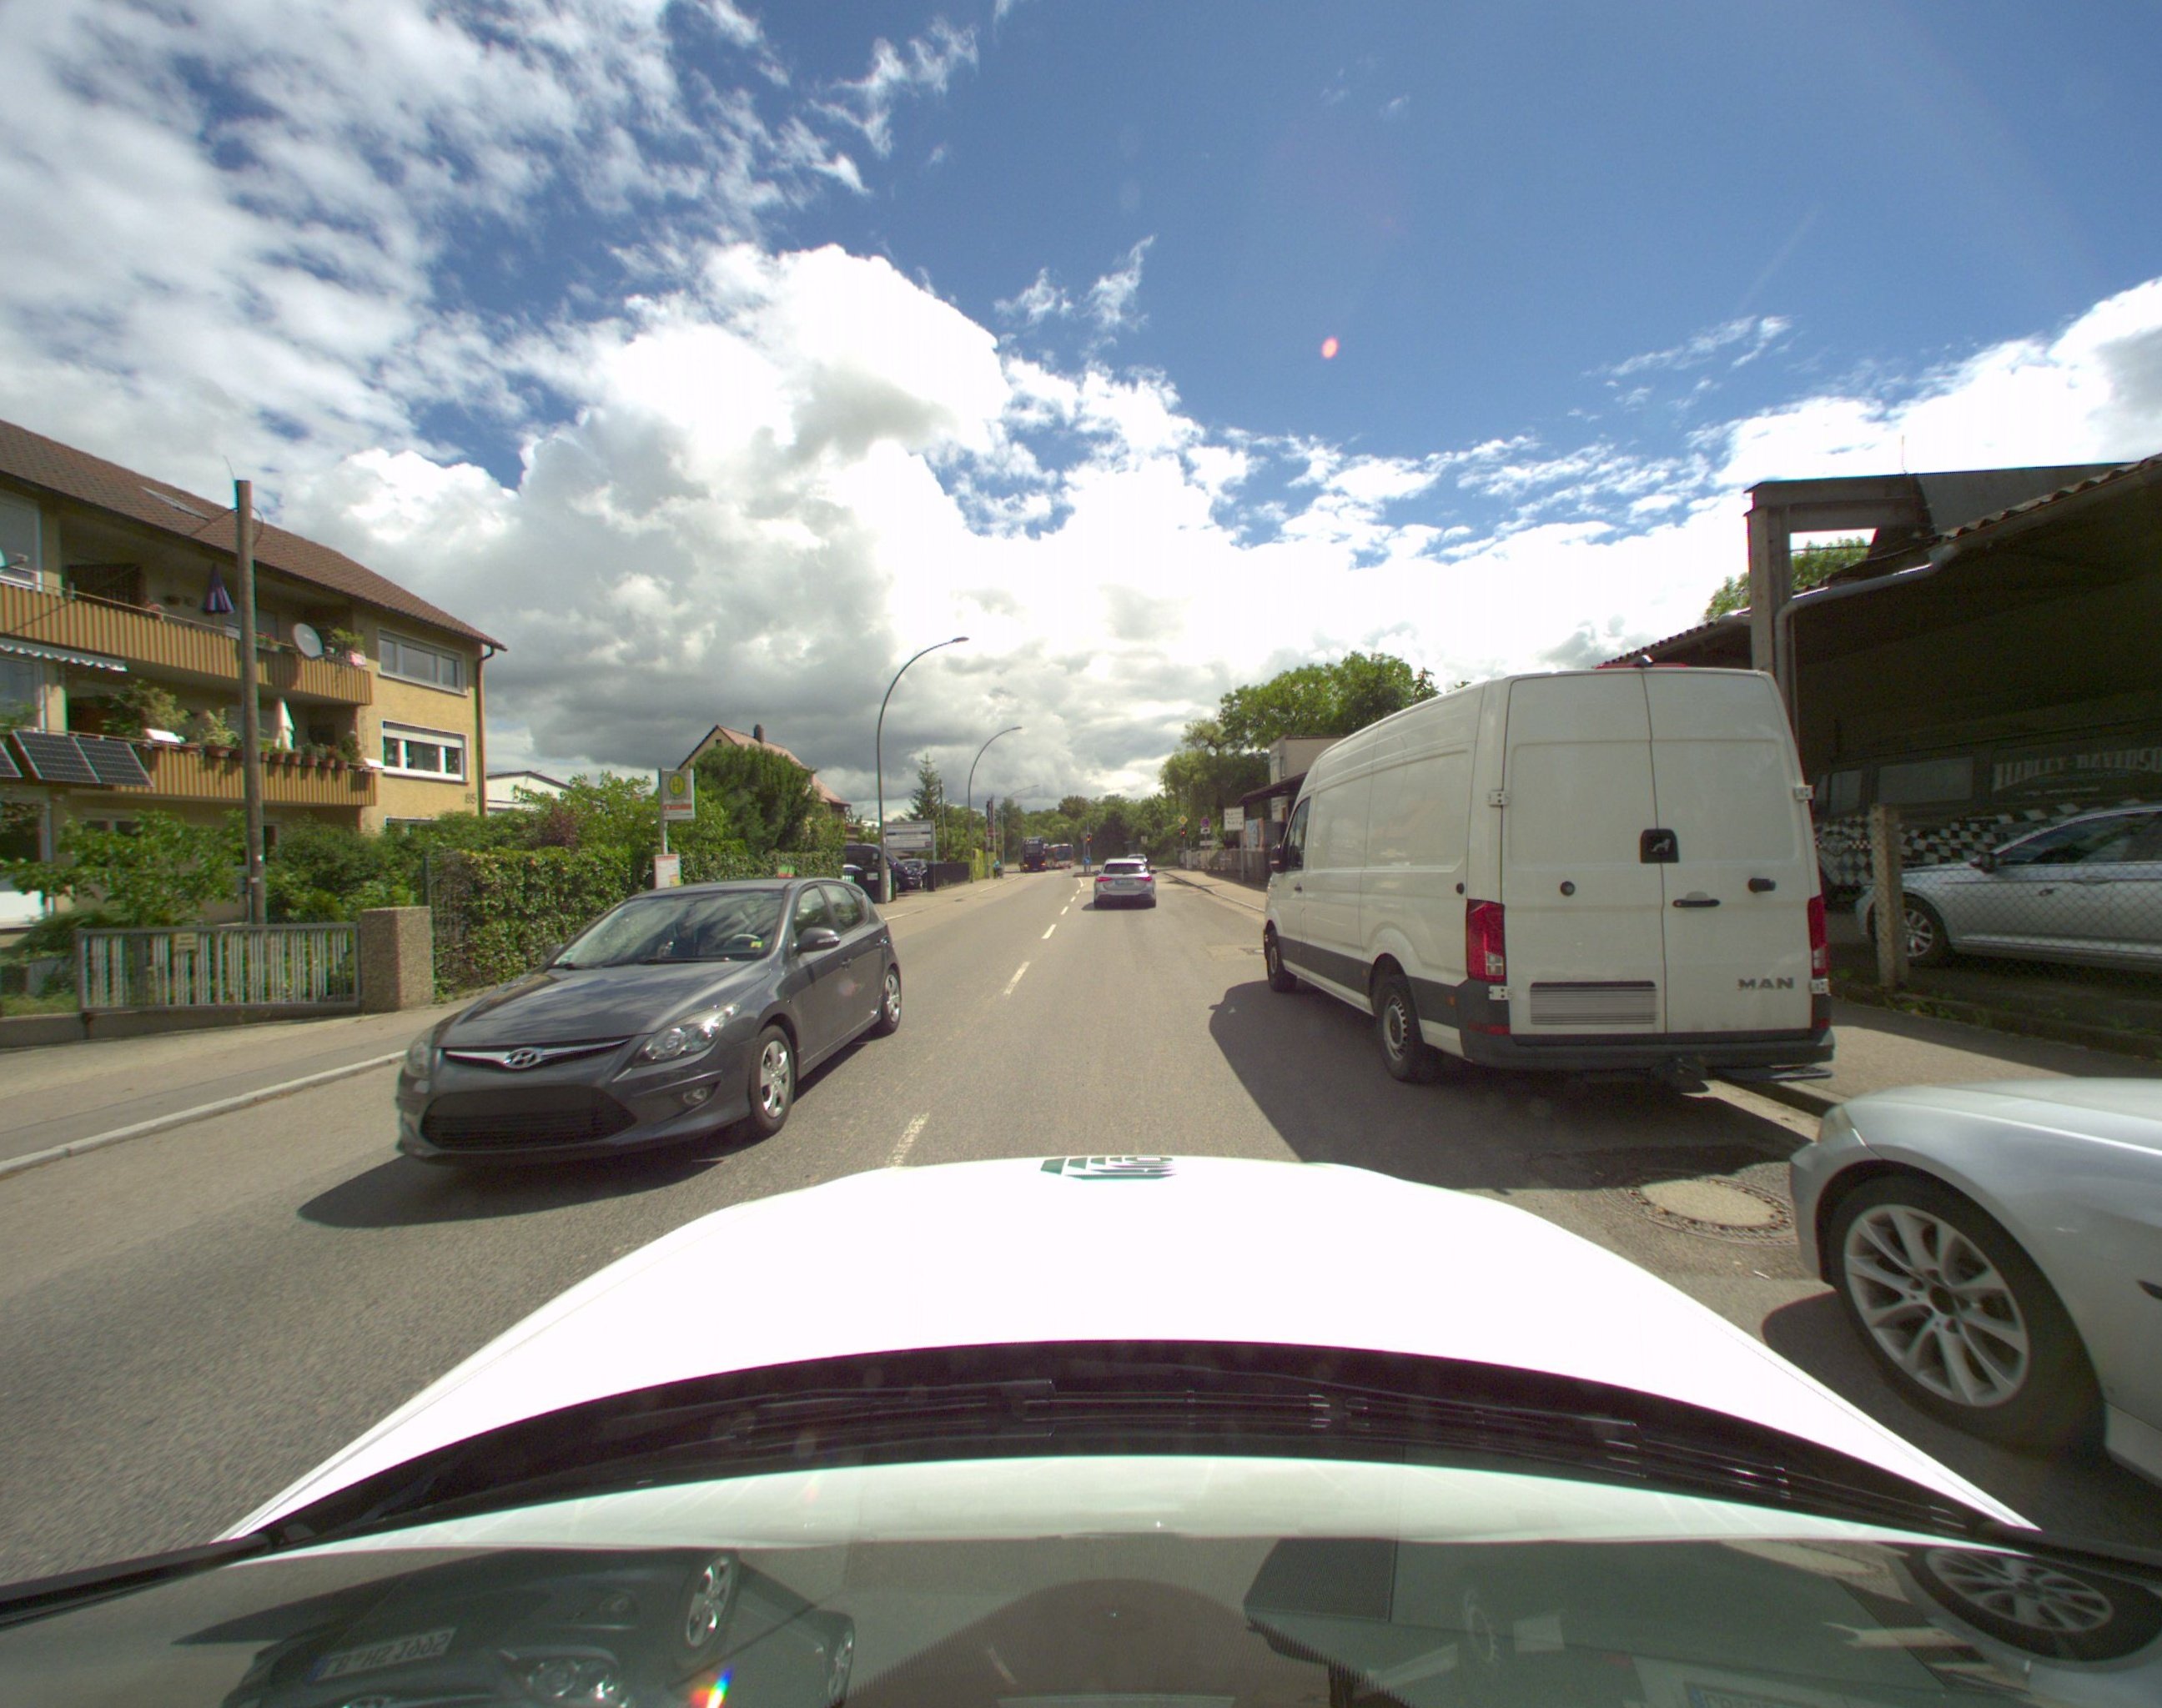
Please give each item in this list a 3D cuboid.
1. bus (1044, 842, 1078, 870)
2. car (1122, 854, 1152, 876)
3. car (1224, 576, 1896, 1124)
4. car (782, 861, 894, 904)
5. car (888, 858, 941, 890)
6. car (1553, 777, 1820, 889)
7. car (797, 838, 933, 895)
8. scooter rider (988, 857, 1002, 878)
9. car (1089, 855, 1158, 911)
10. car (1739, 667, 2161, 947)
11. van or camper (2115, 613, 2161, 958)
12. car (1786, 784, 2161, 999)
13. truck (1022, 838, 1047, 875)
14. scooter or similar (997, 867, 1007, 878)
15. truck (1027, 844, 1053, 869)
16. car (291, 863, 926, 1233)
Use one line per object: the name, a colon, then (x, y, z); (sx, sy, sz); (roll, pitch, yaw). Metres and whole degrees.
bus: (-2.748, 0.280, 106.773); (2.776, 3.266, 12.088); (-3, 0, -8)
car: (4.044, 0.757, 59.177); (1.878, 1.508, 4.000); (-2, 0, 1)
car: (3.045, -0.021, 7.508); (2.207, 2.689, 6.658); (-3, 0, 1)
car: (-9.801, 1.091, 33.390); (1.980, 1.486, 5.359); (-3, 0, 13)
car: (-9.071, 1.051, 44.779); (2.026, 1.595, 4.282); (-3, 0, -1)
car: (12.201, -0.394, 16.941); (1.986, 1.910, 4.855); (-3, 0, 2)
car: (-10.723, 0.617, 40.849); (6.015, 2.496, 2.478); (-3, 0, 1)
scooter rider: (-6.502, 1.015, 61.897); (0.875, 1.589, 0.796); (-2, 0, 2)
car: (1.234, 0.804, 24.826); (1.878, 1.508, 4.001); (-2, 0, 1)
car: (11.372, -0.533, 10.061); (2.011, 2.681, 5.497); (-2, 1, 0)
van or camper: (11.028, -0.669, 4.077); (2.871, 3.060, 6.913); (-3, 0, 0)
car: (8.366, 0.218, 6.231); (1.758, 1.489, 4.928); (-2, 1, 2)
truck: (-5.504, 0.305, 94.461); (2.426, 4.131, 9.129); (0, -1, -6)
scooter or similar: (-5.958, 1.392, 61.447); (0.609, 0.831, 0.659); (-1, 0, 2)
truck: (-6.360, 0.383, 125.370); (2.839, 3.540, 9.693); (-3, 0, -9)
car: (-2.545, 0.899, 5.831); (1.894, 1.518, 4.319); (-3, 0, 1)
